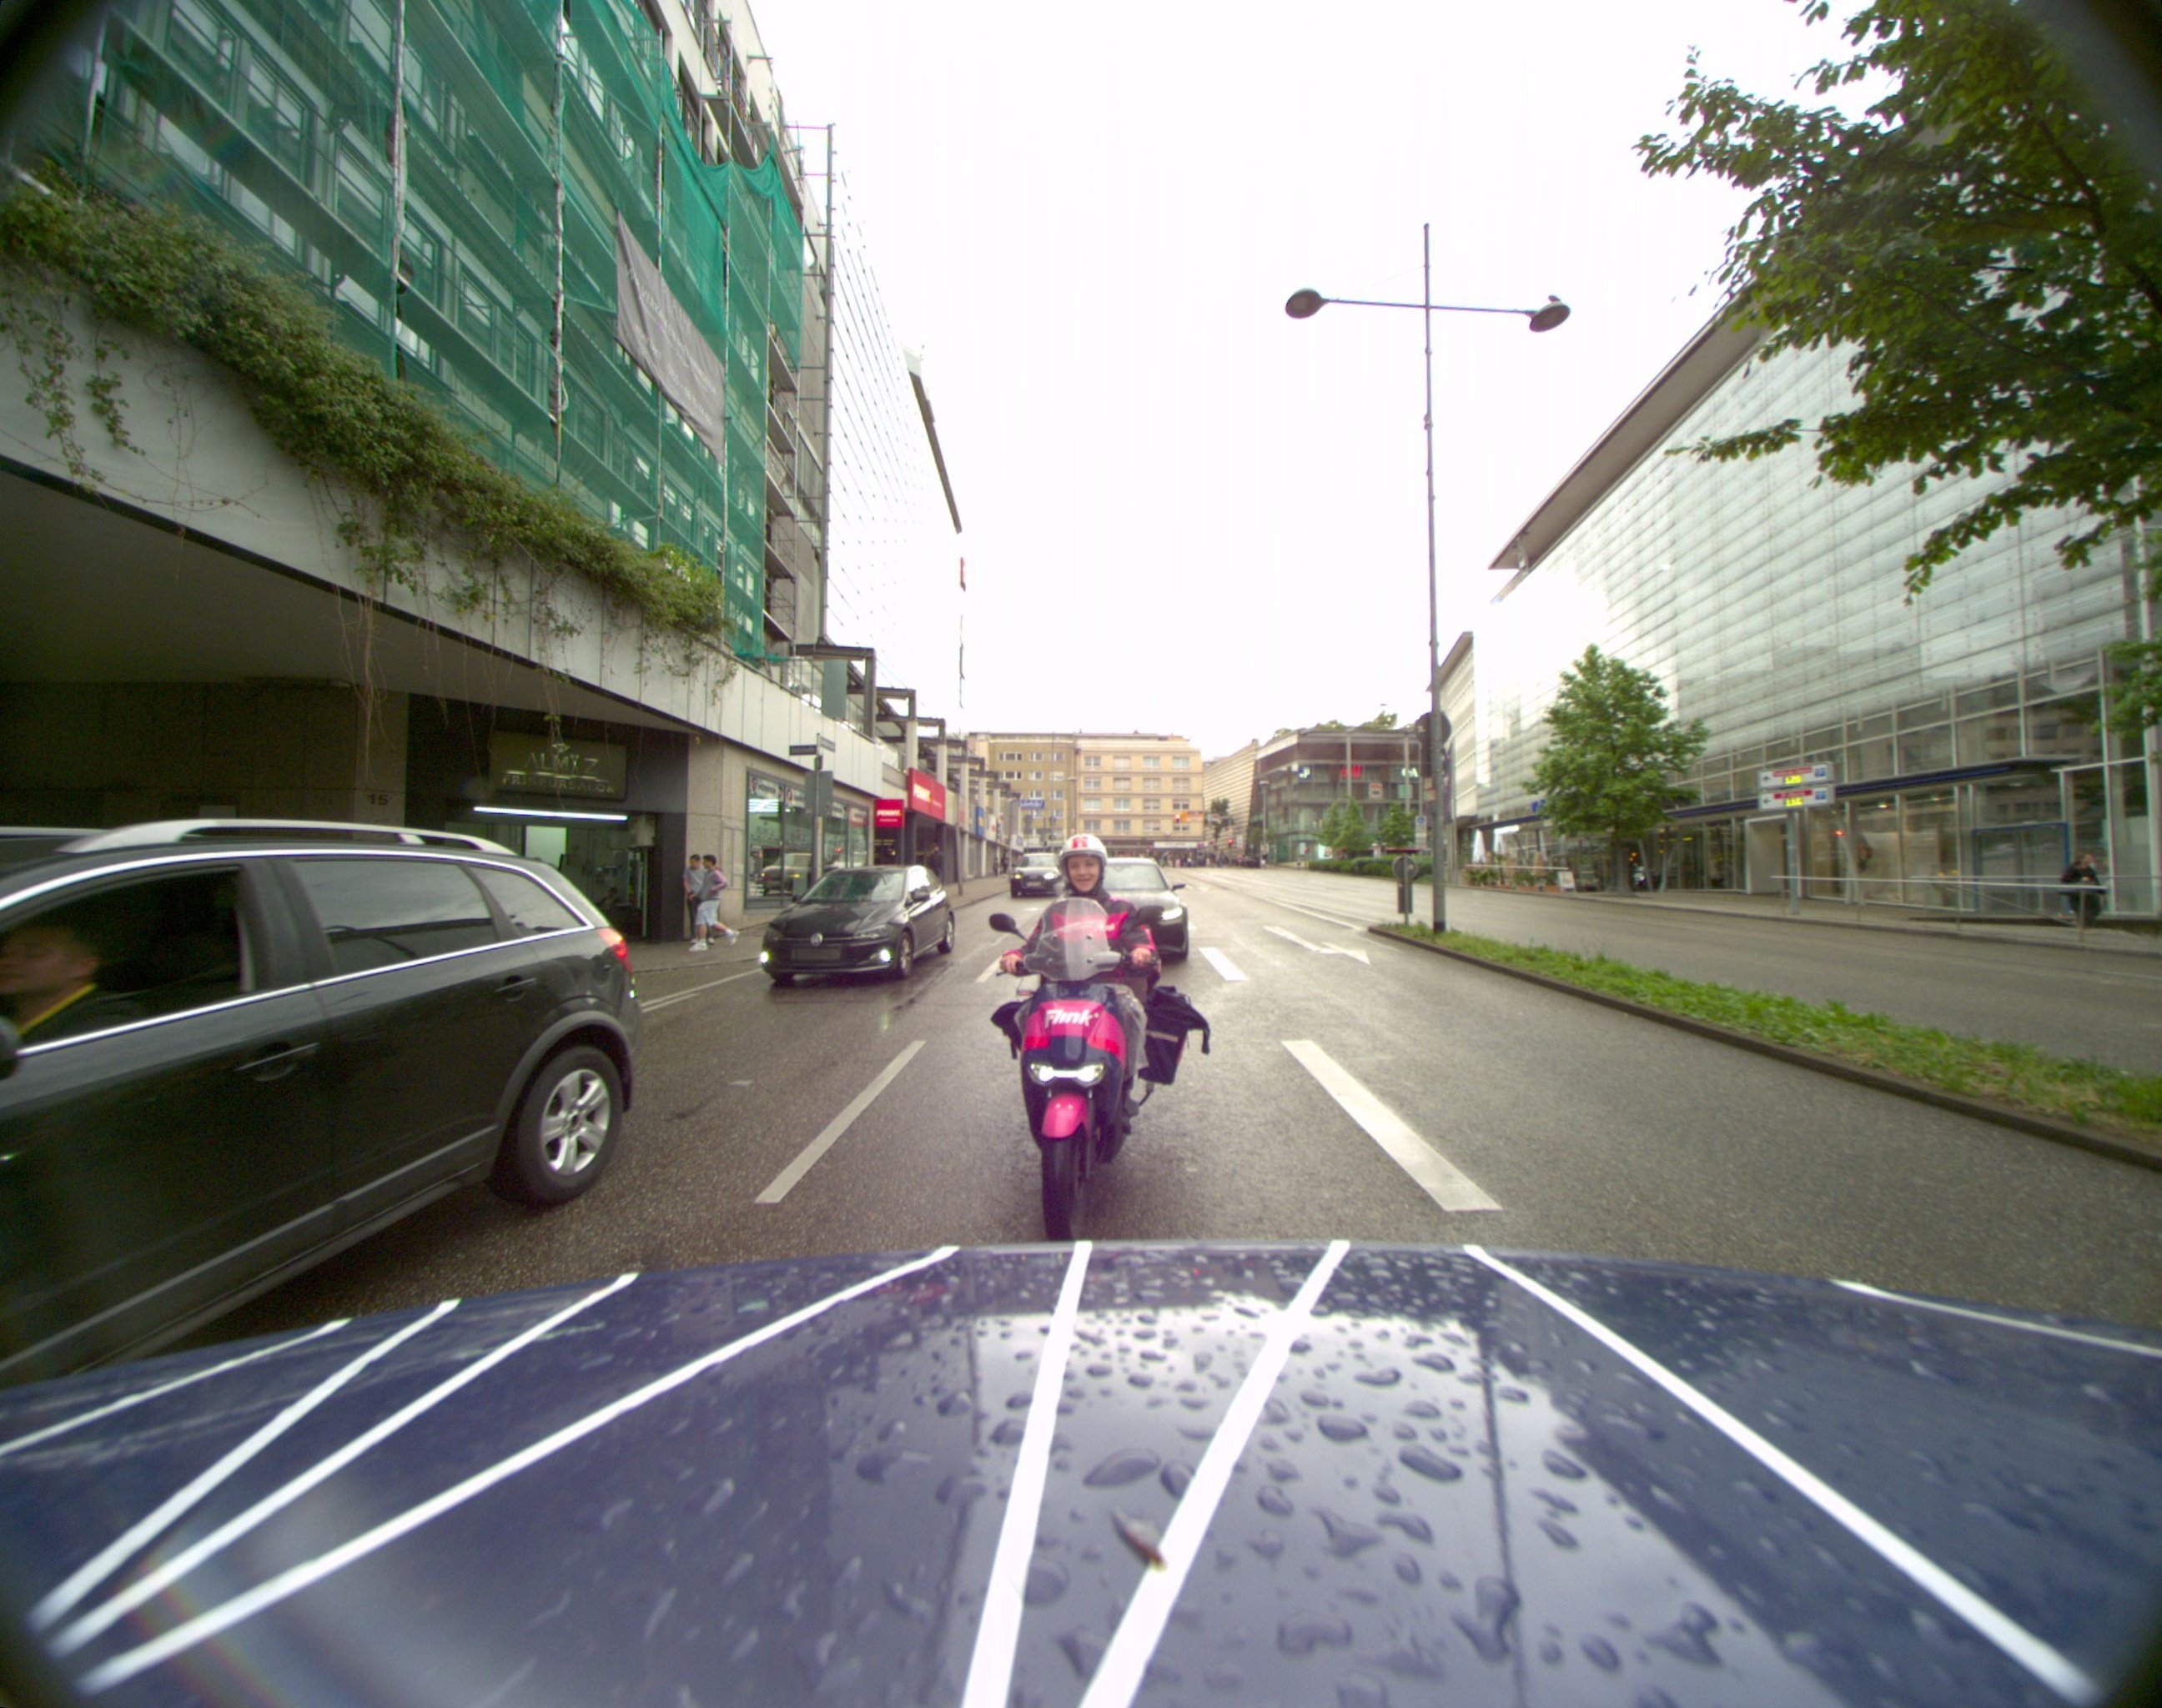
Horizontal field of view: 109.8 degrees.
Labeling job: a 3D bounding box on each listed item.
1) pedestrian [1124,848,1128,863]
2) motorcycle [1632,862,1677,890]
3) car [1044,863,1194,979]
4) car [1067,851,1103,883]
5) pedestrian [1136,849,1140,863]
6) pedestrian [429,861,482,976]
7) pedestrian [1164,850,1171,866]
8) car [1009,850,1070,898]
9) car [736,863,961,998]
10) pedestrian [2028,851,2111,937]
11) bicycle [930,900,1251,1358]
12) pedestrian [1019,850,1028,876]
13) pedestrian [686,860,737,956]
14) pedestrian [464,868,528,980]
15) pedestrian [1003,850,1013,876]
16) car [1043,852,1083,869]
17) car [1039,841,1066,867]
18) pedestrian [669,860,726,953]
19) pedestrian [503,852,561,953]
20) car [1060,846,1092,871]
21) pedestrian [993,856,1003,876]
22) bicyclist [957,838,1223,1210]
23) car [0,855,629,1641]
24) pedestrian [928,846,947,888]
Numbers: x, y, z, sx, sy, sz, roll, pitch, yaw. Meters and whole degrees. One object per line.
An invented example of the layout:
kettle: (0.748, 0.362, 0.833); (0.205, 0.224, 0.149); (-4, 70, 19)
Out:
pedestrian: (5.018, 0.178, 85.079); (0.428, 1.620, 0.602); (1, 1, 5)
motorcycle: (28.142, 1.063, 37.306); (1.707, 1.319, 0.620); (0, 1, 1)
car: (0.578, 0.888, 11.880); (1.890, 1.392, 4.164); (-2, 0, 2)
car: (0.262, 0.642, 39.143); (1.675, 1.520, 4.165); (-2, -1, 2)
pedestrian: (6.532, 0.226, 86.701); (0.428, 1.620, 0.602); (1, 1, 3)
pedestrian: (-9.621, 0.966, 11.687); (0.466, 1.698, 0.484); (0, 2, 42)
pedestrian: (9.849, 0.407, 86.474); (0.626, 1.764, 0.689); (-2, 2, 5)
car: (-1.475, 0.681, 28.569); (1.841, 1.598, 4.164); (-2, 1, 2)
car: (-3.020, 0.910, 10.859); (1.759, 1.495, 4.165); (-2, -1, 2)
pedestrian: (19.596, 0.771, 15.080); (0.635, 1.628, 0.790); (-2, 2, 8)
bicycle: (0.050, 1.017, 4.017); (1.034, 1.279, 2.948); (-2, 1, 1)
pedestrian: (-3.359, 0.533, 44.329); (0.510, 1.492, 0.579); (0, 2, 0)
pedestrian: (-6.461, 0.928, 13.319); (0.579, 1.618, 0.676); (0, 2, -4)
pedestrian: (-8.730, 1.017, 11.358); (0.640, 1.586, 0.576); (-3, 2, -32)
pedestrian: (-4.235, 0.530, 44.204); (0.510, 1.492, 0.579); (0, 2, 0)
car: (-2.190, 0.762, 92.561); (4.587, 2.002, 1.998); (0, 1, -8)
car: (-2.286, -0.064, 62.300); (1.605, 2.002, 3.401); (-2, 1, 7)
pedestrian: (-7.092, 0.951, 14.081); (0.639, 1.633, 0.733); (-2, 2, -3)
pedestrian: (-10.230, 0.869, 14.148); (0.771, 1.805, 0.745); (2, 2, 44)
car: (-0.317, 0.337, 54.136); (1.988, 1.696, 4.165); (-2, -1, 2)
pedestrian: (-4.831, 0.675, 44.211); (0.510, 1.160, 0.579); (0, 2, 0)
bicyclist: (0.047, 0.708, 3.590); (1.063, 1.534, 0.825); (-2, 2, 0)
car: (-3.316, 0.911, 1.901); (1.764, 1.755, 4.164); (-2, -1, 1)
pedestrian: (-5.778, 0.505, 30.661); (0.578, 1.669, 0.511); (1, 2, 22)
